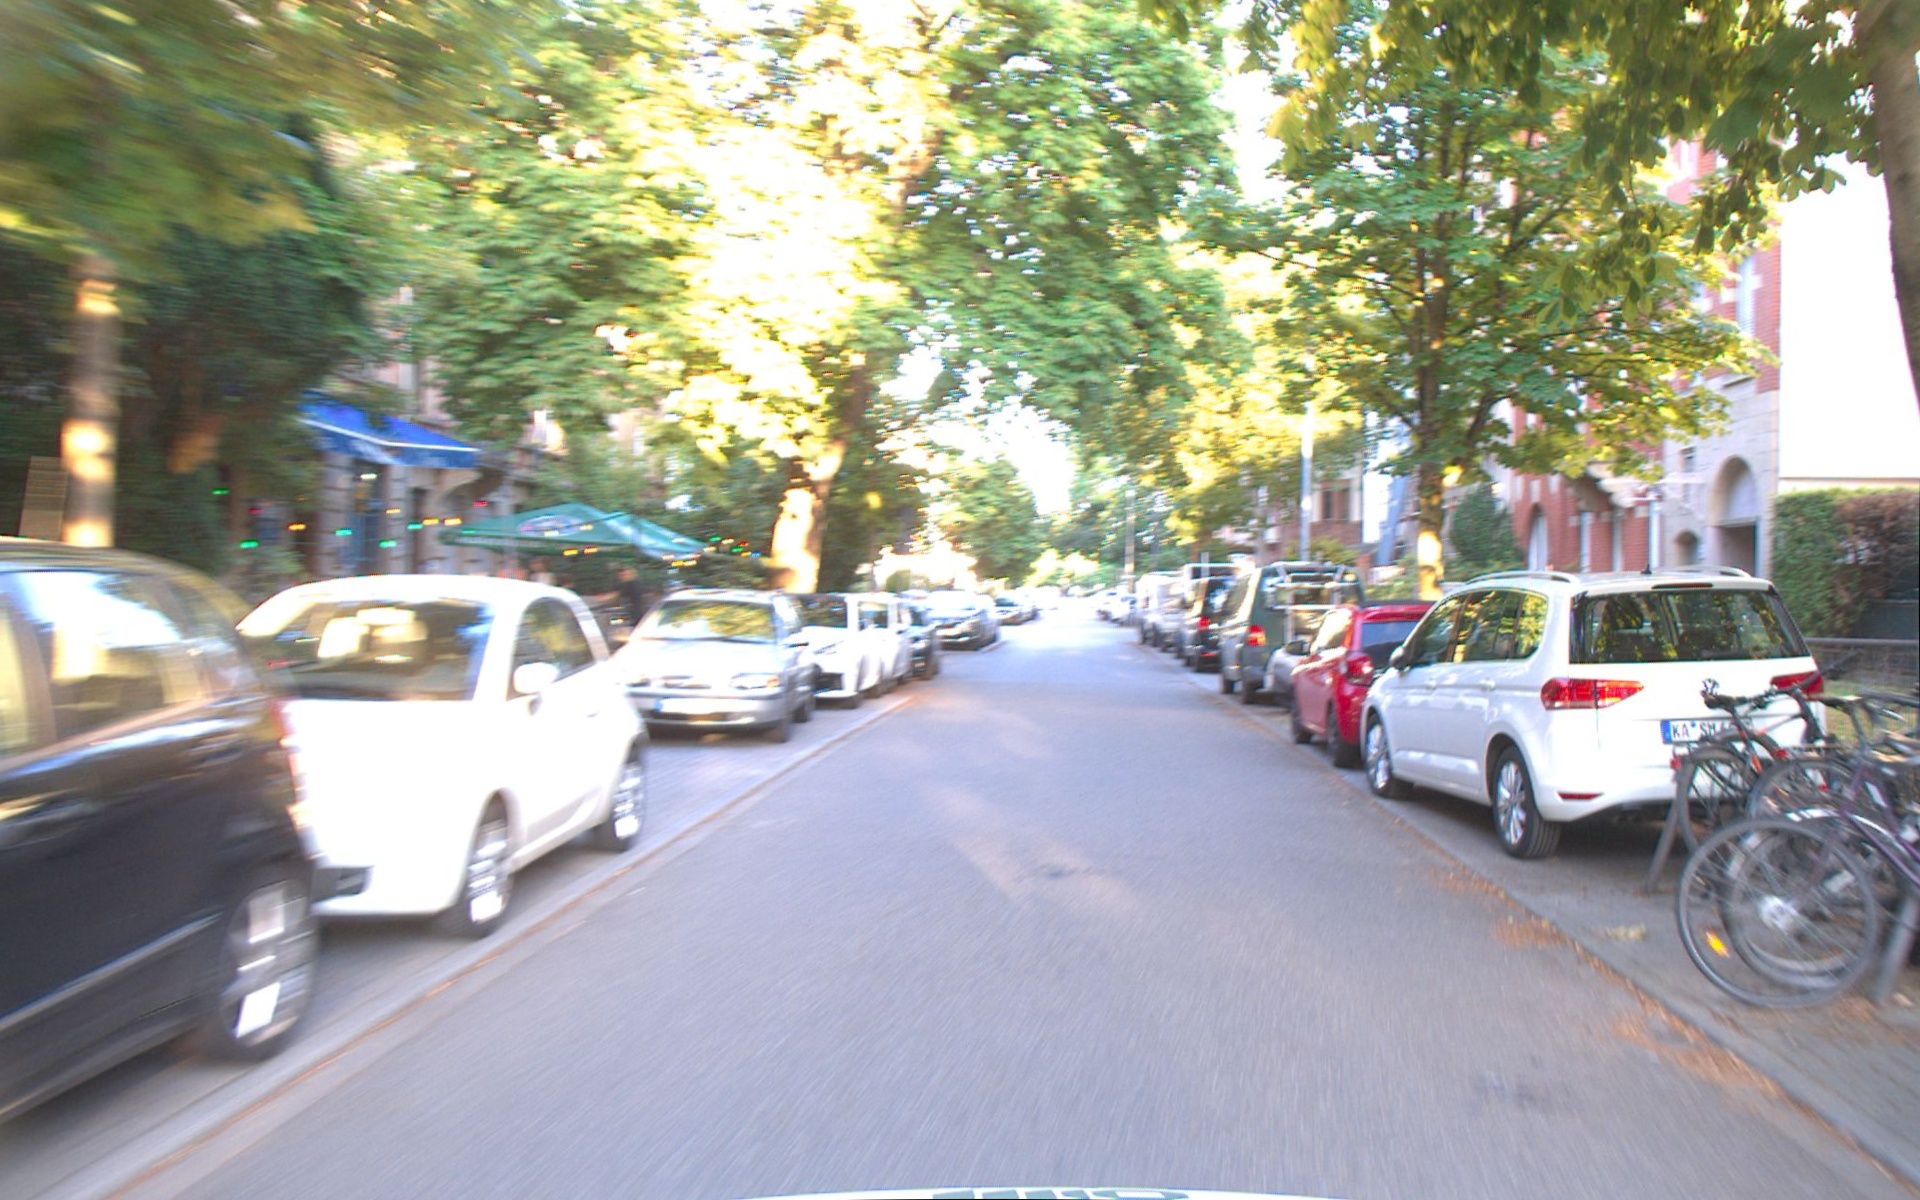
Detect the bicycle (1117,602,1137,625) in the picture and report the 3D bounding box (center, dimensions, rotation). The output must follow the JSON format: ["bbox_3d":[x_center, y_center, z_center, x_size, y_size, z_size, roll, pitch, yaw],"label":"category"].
[{"bbox_3d":[8.896,0.734,88.009,0.435,1.193,1.633,1,0,29],"label":"bicycle"}]

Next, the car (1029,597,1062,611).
[{"bbox_3d":[9.358,0.414,180.892,3.544,1.487,1.607,1,0,0],"label":"car"}]

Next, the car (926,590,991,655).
[{"bbox_3d":[-0.019,0.586,46.419,1.655,1.590,4.403,3,1,0],"label":"car"}]

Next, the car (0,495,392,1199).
[{"bbox_3d":[-2.926,0.572,3.837,1.630,1.706,3.848,3,1,3],"label":"car"}]

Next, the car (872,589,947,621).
[{"bbox_3d":[-2.860,0.279,93.969,4.008,1.554,1.710,4,0,3],"label":"car"}]

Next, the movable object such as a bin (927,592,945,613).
[{"bbox_3d":[-1.576,0.156,109.696,0.991,1.344,1.006,3,1,9],"label":"movable object such as a bin"}]

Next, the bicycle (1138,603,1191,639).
[{"bbox_3d":[7.440,0.762,60.177,1.864,1.280,0.407,-2,0,-2],"label":"bicycle"}]

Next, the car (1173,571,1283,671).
[{"bbox_3d":[5.729,0.398,35.823,1.800,1.976,4.616,-2,1,3],"label":"car"}]

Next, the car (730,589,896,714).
[{"bbox_3d":[-1.914,0.636,22.656,1.570,1.460,3.887,3,1,4],"label":"car"}]

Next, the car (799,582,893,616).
[{"bbox_3d":[-5.272,-0.061,76.892,4.005,1.472,1.711,1,1,13],"label":"car"}]

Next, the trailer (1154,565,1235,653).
[{"bbox_3d":[6.682,0.239,47.540,1.913,2.336,4.647,-2,0,4],"label":"trailer"}]

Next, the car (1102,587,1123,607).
[{"bbox_3d":[12.595,-0.248,136.633,1.507,1.548,3.432,1,0,1],"label":"car"}]

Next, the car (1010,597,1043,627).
[{"bbox_3d":[4.120,0.719,102.139,1.881,1.747,4.430,1,0,4],"label":"car"}]

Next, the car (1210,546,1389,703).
[{"bbox_3d":[5.020,0.306,25.120,1.913,2.094,4.832,-2,1,3],"label":"car"}]

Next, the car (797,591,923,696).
[{"bbox_3d":[-1.580,0.655,27.310,1.519,1.511,3.696,3,1,4],"label":"car"}]

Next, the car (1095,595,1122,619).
[{"bbox_3d":[10.815,0.516,120.521,1.652,1.634,3.940,1,0,1],"label":"car"}]

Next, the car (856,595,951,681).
[{"bbox_3d":[-1.023,0.670,31.343,1.519,1.511,3.695,0,1,2],"label":"car"}]

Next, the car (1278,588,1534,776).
[{"bbox_3d":[4.129,0.686,15.855,1.629,1.526,3.696,-2,1,3],"label":"car"}]

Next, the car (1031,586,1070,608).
[{"bbox_3d":[10.086,-0.320,183.749,4.259,2.358,1.746,1,0,2],"label":"car"}]

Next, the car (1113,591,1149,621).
[{"bbox_3d":[10.026,0.360,97.189,1.761,1.741,4.602,0,0,1],"label":"car"}]

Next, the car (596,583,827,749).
[{"bbox_3d":[-2.454,0.583,17.406,1.803,1.436,4.599,2,1,-1],"label":"car"}]

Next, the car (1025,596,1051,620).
[{"bbox_3d":[5.462,0.536,115.390,1.680,1.593,3.790,1,0,4],"label":"car"}]

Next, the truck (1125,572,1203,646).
[{"bbox_3d":[6.658,0.296,54.708,1.936,2.284,6.778,1,0,2],"label":"truck"}]

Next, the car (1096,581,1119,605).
[{"bbox_3d":[12.522,-0.551,140.642,1.645,1.975,3.881,1,0,1],"label":"car"}]

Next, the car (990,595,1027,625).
[{"bbox_3d":[2.535,0.490,86.294,1.582,1.496,3.964,1,0,6],"label":"car"}]

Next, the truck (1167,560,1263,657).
[{"bbox_3d":[6.424,0.166,42.137,1.913,2.285,4.647,-2,1,3],"label":"truck"}]

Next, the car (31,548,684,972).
[{"bbox_3d":[-2.623,0.590,8.180,1.630,1.519,3.712,3,1,3],"label":"car"}]

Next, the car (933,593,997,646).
[{"bbox_3d":[0.202,0.607,51.721,1.654,1.528,4.404,2,0,4],"label":"car"}]

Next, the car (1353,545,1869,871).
[{"bbox_3d":[4.031,0.560,11.037,1.631,1.708,4.118,-2,1,-3],"label":"car"}]
